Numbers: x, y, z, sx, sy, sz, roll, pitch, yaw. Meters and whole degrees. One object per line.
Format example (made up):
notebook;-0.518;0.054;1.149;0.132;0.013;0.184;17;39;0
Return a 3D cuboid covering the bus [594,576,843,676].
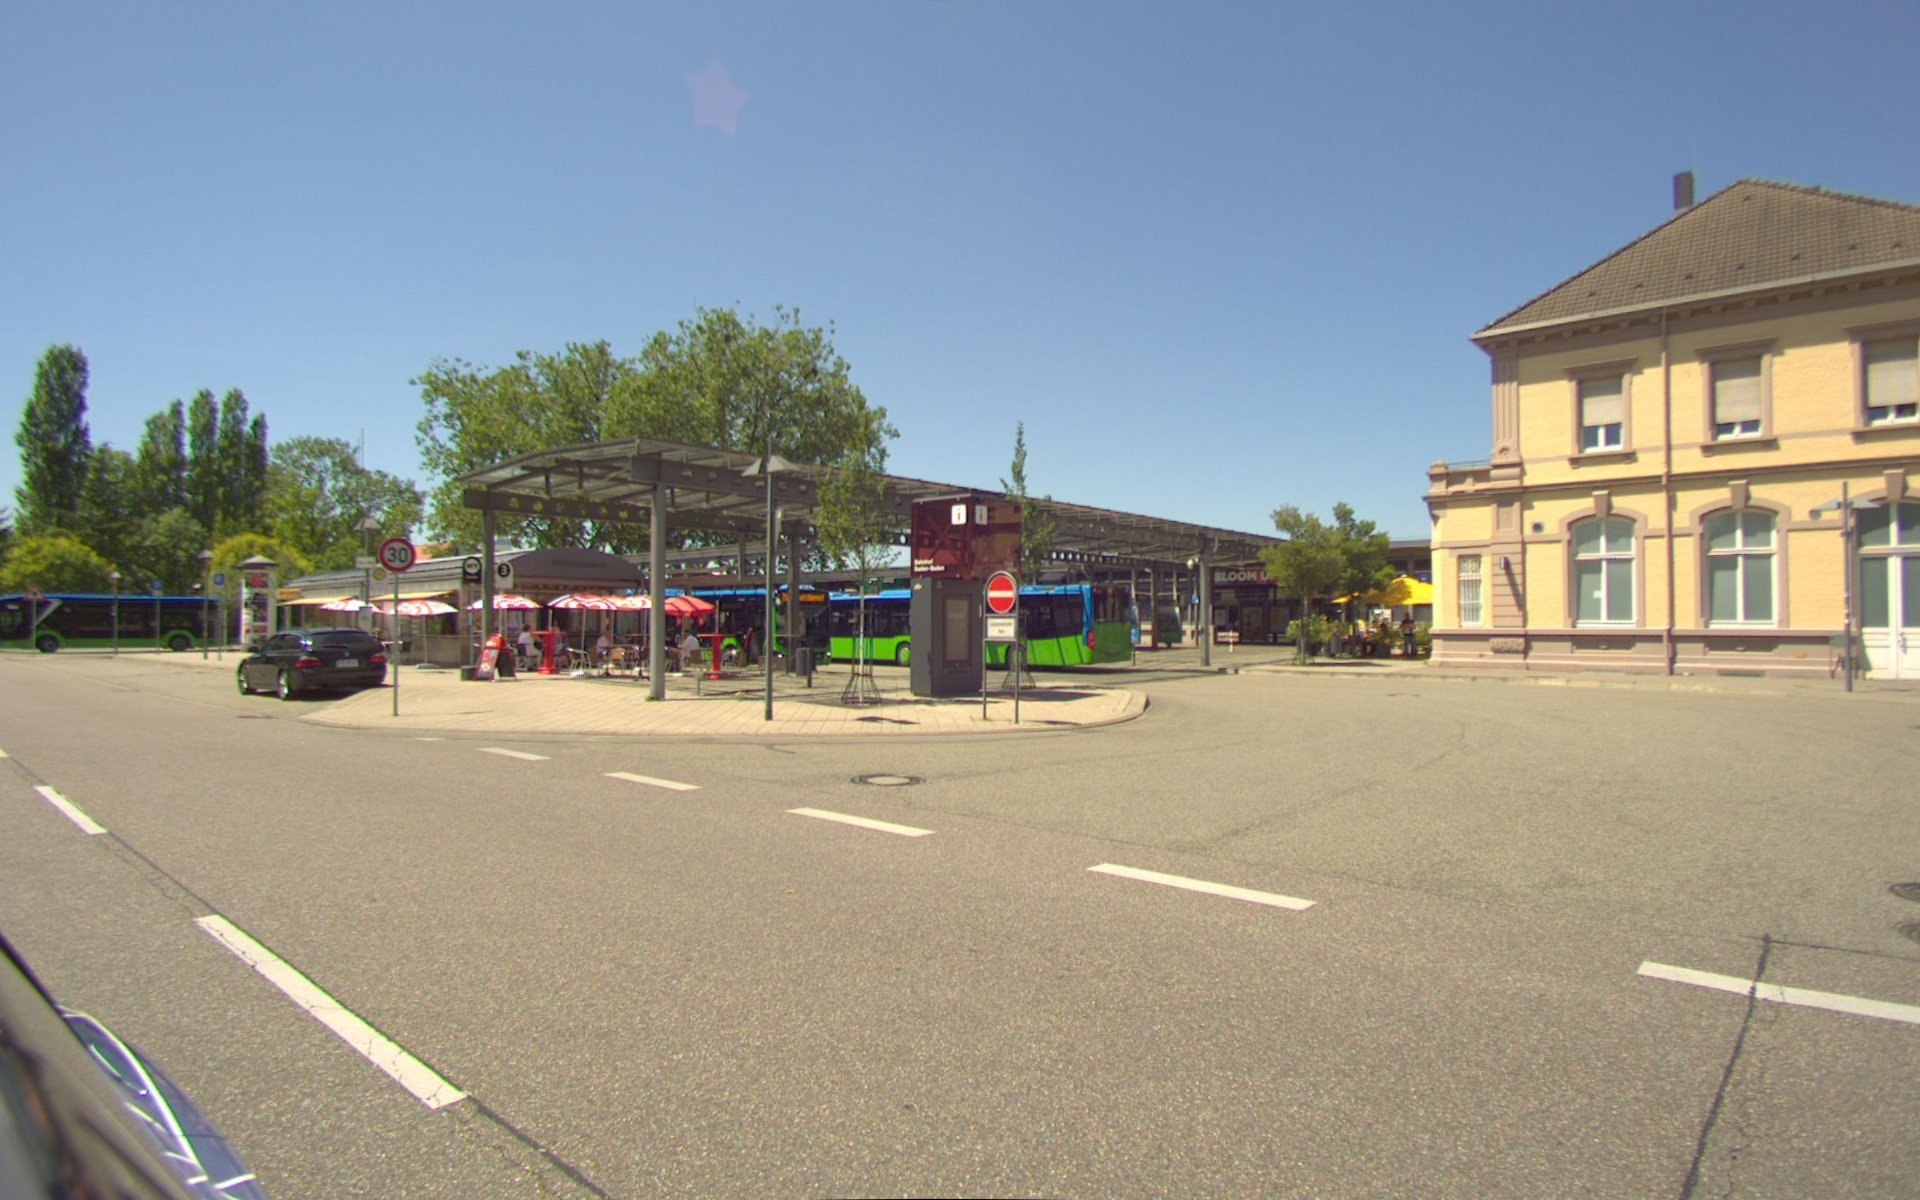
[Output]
bus;-9.459;1.039;38.244;11.843;3.258;2.934;-2;-3;42

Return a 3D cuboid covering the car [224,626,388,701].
car;-14.510;1.334;22.355;4.782;1.490;1.701;-1;-3;40

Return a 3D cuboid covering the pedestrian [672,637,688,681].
pedestrian;-7.438;1.564;26.905;0.365;1.131;0.427;2;-1;-15

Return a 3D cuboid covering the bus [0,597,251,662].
bus;-49.022;1.689;59.377;12.026;3.553;2.173;1;-2;-38

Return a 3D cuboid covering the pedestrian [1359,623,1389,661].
pedestrian;16.319;1.658;39.896;0.957;1.488;0.890;-2;-2;32

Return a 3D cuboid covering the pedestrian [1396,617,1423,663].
pedestrian;16.778;1.492;37.789;0.777;1.698;0.659;-3;-3;34

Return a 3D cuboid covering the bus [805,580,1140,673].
bus;-0.231;1.119;39.943;15.520;3.060;2.835;-2;-3;44
